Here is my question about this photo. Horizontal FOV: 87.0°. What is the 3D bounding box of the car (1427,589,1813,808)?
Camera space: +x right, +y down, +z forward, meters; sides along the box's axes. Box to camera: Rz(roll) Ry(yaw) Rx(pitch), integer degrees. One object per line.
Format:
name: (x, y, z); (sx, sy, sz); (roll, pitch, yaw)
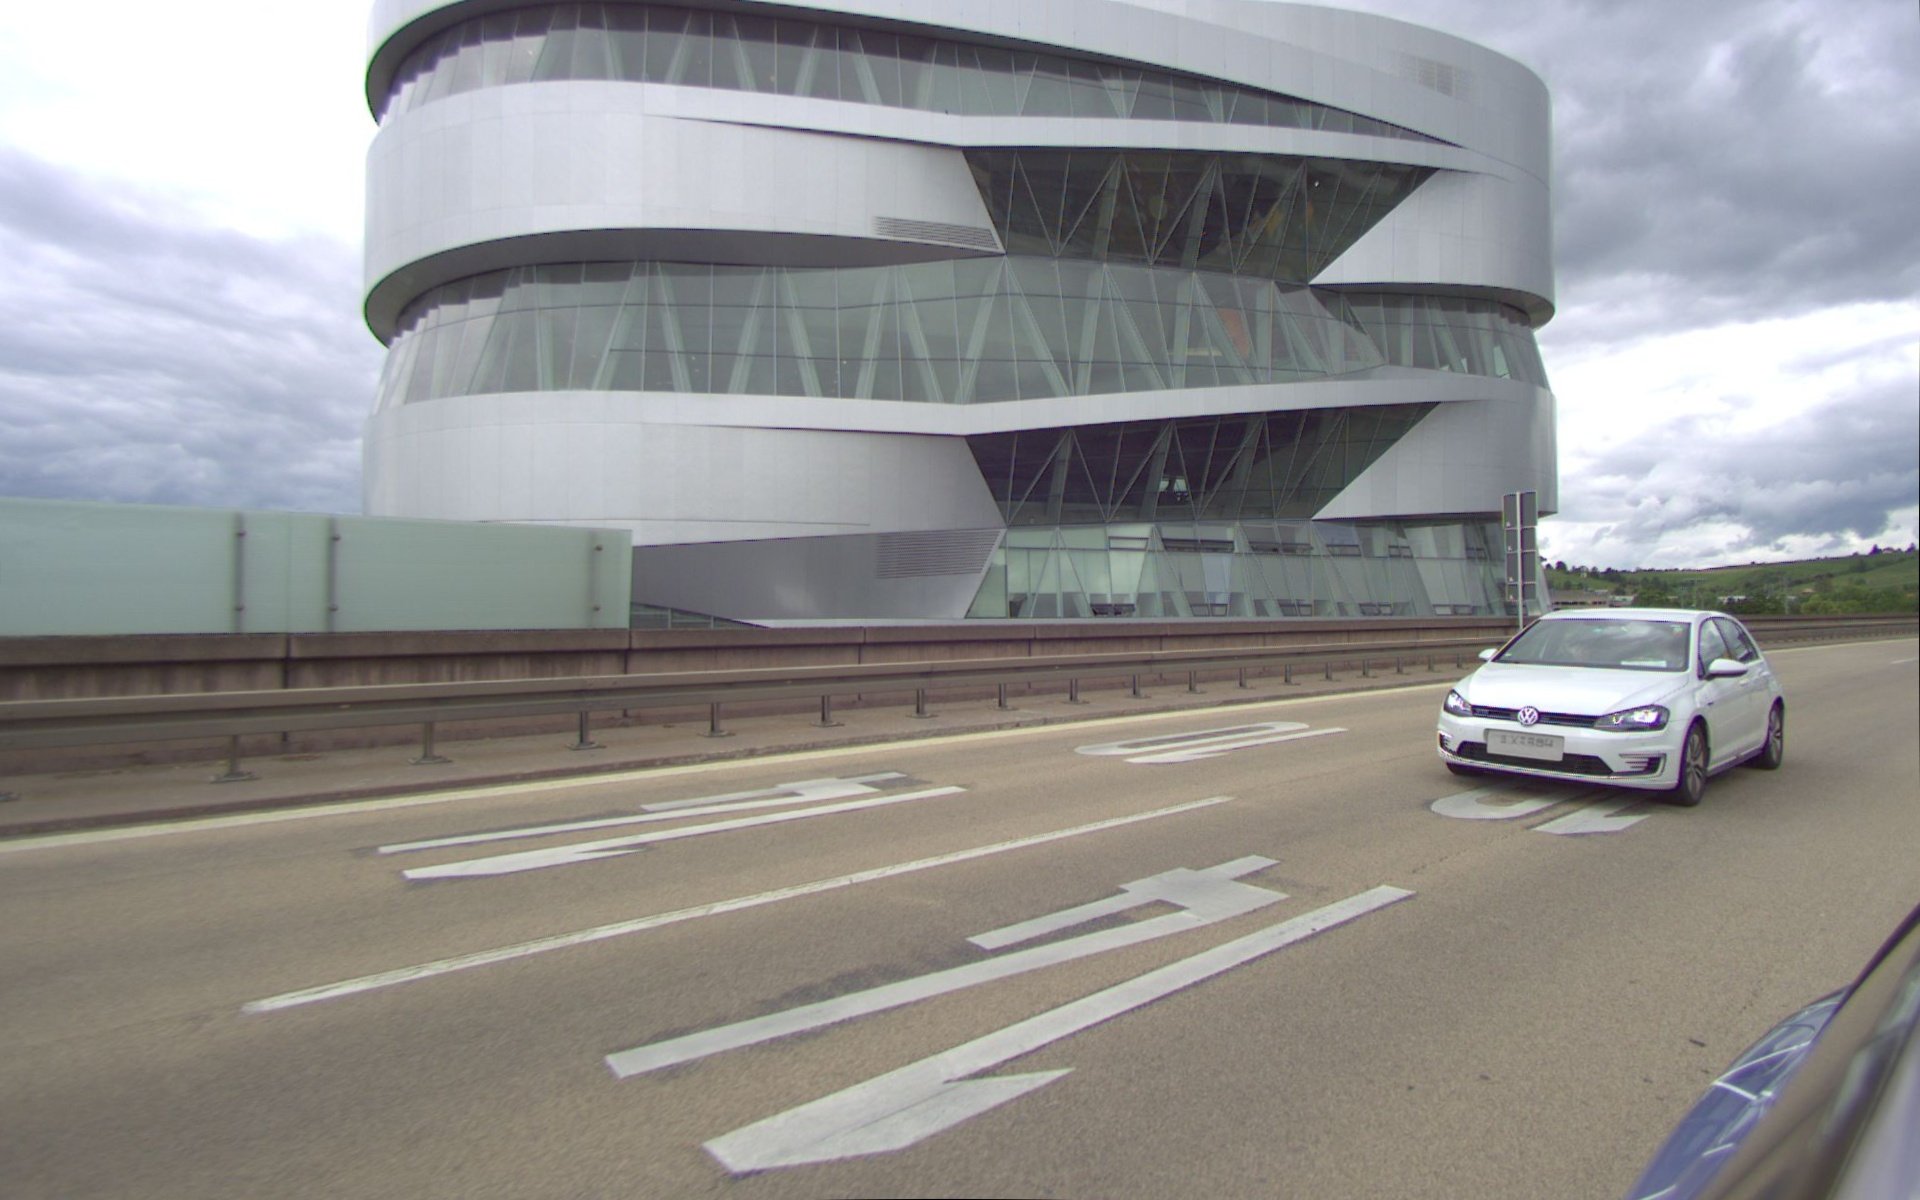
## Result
car: (5.873, 0.668, 8.824); (4.000, 1.470, 1.758); (0, 0, -40)
